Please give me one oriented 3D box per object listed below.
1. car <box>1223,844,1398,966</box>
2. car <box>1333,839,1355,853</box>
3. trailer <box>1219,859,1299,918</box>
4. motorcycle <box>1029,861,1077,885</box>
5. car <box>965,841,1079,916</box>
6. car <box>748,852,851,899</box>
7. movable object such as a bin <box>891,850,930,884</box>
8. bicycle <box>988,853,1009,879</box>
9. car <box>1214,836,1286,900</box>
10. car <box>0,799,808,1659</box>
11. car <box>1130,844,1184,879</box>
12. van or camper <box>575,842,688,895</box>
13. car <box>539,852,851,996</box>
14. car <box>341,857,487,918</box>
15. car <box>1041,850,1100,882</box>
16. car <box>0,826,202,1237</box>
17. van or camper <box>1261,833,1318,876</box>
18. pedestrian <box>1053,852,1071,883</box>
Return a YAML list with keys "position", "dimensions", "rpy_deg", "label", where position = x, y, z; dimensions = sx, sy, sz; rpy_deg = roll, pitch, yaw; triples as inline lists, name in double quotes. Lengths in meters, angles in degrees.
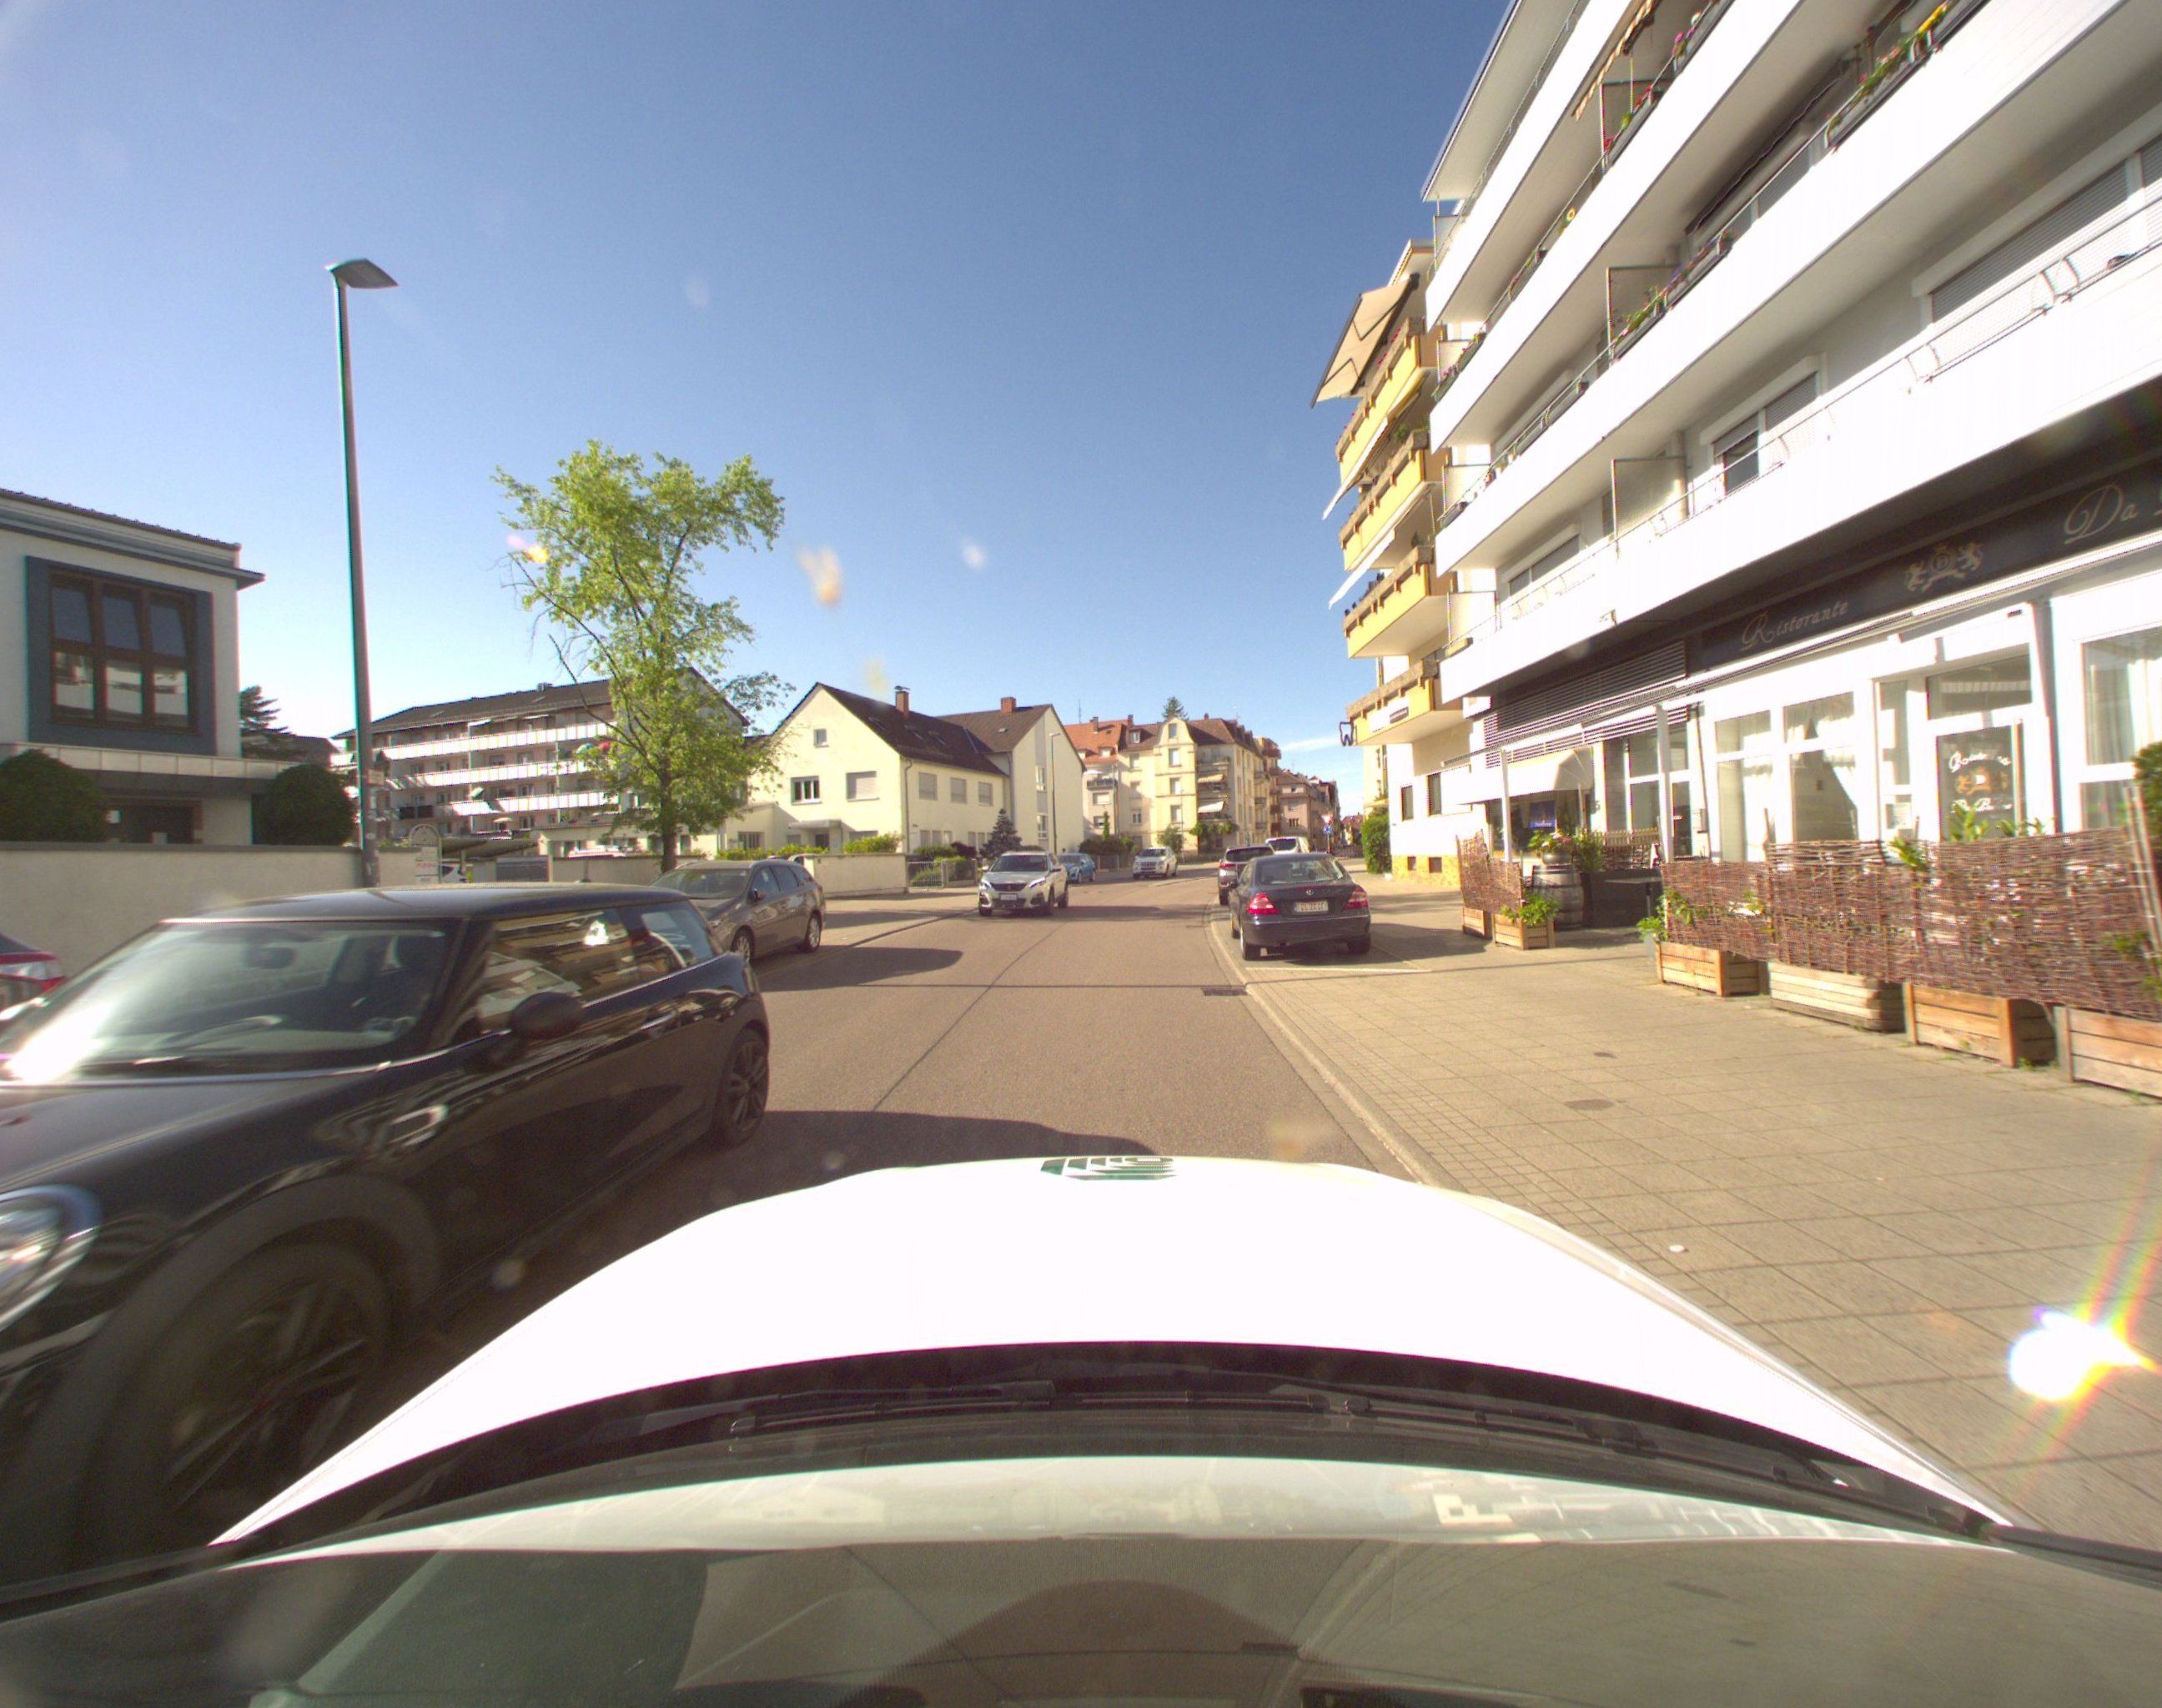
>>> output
- position: [3.242, 0.659, 12.499]
  dimensions: [1.959, 1.450, 5.015]
  rpy_deg: [-2, -1, 9]
  label: "car"
- position: [36.613, -1.082, 113.333]
  dimensions: [2.410, 1.811, 4.749]
  rpy_deg: [-2, 0, 23]
  label: "car"
- position: [4.074, 0.746, 18.475]
  dimensions: [1.591, 1.178, 2.953]
  rpy_deg: [-2, -1, 13]
  label: "trailer"
- position: [-1.304, 0.864, 37.747]
  dimensions: [2.038, 1.019, 0.953]
  rpy_deg: [1, 2, 27]
  label: "motorcycle"
- position: [-1.415, 0.656, 21.465]
  dimensions: [1.907, 1.725, 4.348]
  rpy_deg: [-2, -2, 10]
  label: "car"
- position: [-10.079, 0.788, 29.338]
  dimensions: [1.783, 1.556, 3.206]
  rpy_deg: [-3, -3, 24]
  label: "car"
- position: [-7.800, 0.624, 37.214]
  dimensions: [1.272, 1.490, 1.232]
  rpy_deg: [-2, -3, 17]
  label: "movable object such as a bin"
- position: [-4.141, 0.630, 41.003]
  dimensions: [0.453, 1.250, 1.935]
  rpy_deg: [-2, -3, 13]
  label: "bicycle"
- position: [4.940, 0.461, 23.863]
  dimensions: [1.805, 1.653, 4.573]
  rpy_deg: [-2, -2, 11]
  label: "car"
- position: [-2.684, 0.780, 3.187]
  dimensions: [1.733, 1.513, 3.733]
  rpy_deg: [-3, -3, 3]
  label: "car"
- position: [4.333, 0.379, 45.637]
  dimensions: [1.973, 1.785, 4.541]
  rpy_deg: [-2, 0, 18]
  label: "car"
- position: [-22.642, 0.757, 41.046]
  dimensions: [5.172, 2.398, 2.161]
  rpy_deg: [-3, -2, 22]
  label: "van or camper"
- position: [-4.989, 0.775, 11.523]
  dimensions: [1.987, 1.534, 4.918]
  rpy_deg: [-2, 0, 0]
  label: "car"
- position: [-18.640, 0.932, 22.861]
  dimensions: [1.719, 1.509, 2.643]
  rpy_deg: [-5, -3, 19]
  label: "car"
- position: [-0.453, 0.569, 40.648]
  dimensions: [1.784, 1.473, 4.348]
  rpy_deg: [-1, 0, 15]
  label: "car"
- position: [-5.101, 0.709, 1.638]
  dimensions: [1.713, 1.586, 4.424]
  rpy_deg: [-2, 0, 2]
  label: "car"
- position: [10.758, 0.007, 41.774]
  dimensions: [2.002, 1.947, 4.730]
  rpy_deg: [-4, -1, 24]
  label: "van or camper"
- position: [-1.079, 0.775, 46.249]
  dimensions: [0.676, 1.704, 0.828]
  rpy_deg: [-3, -3, 22]
  label: "pedestrian"
